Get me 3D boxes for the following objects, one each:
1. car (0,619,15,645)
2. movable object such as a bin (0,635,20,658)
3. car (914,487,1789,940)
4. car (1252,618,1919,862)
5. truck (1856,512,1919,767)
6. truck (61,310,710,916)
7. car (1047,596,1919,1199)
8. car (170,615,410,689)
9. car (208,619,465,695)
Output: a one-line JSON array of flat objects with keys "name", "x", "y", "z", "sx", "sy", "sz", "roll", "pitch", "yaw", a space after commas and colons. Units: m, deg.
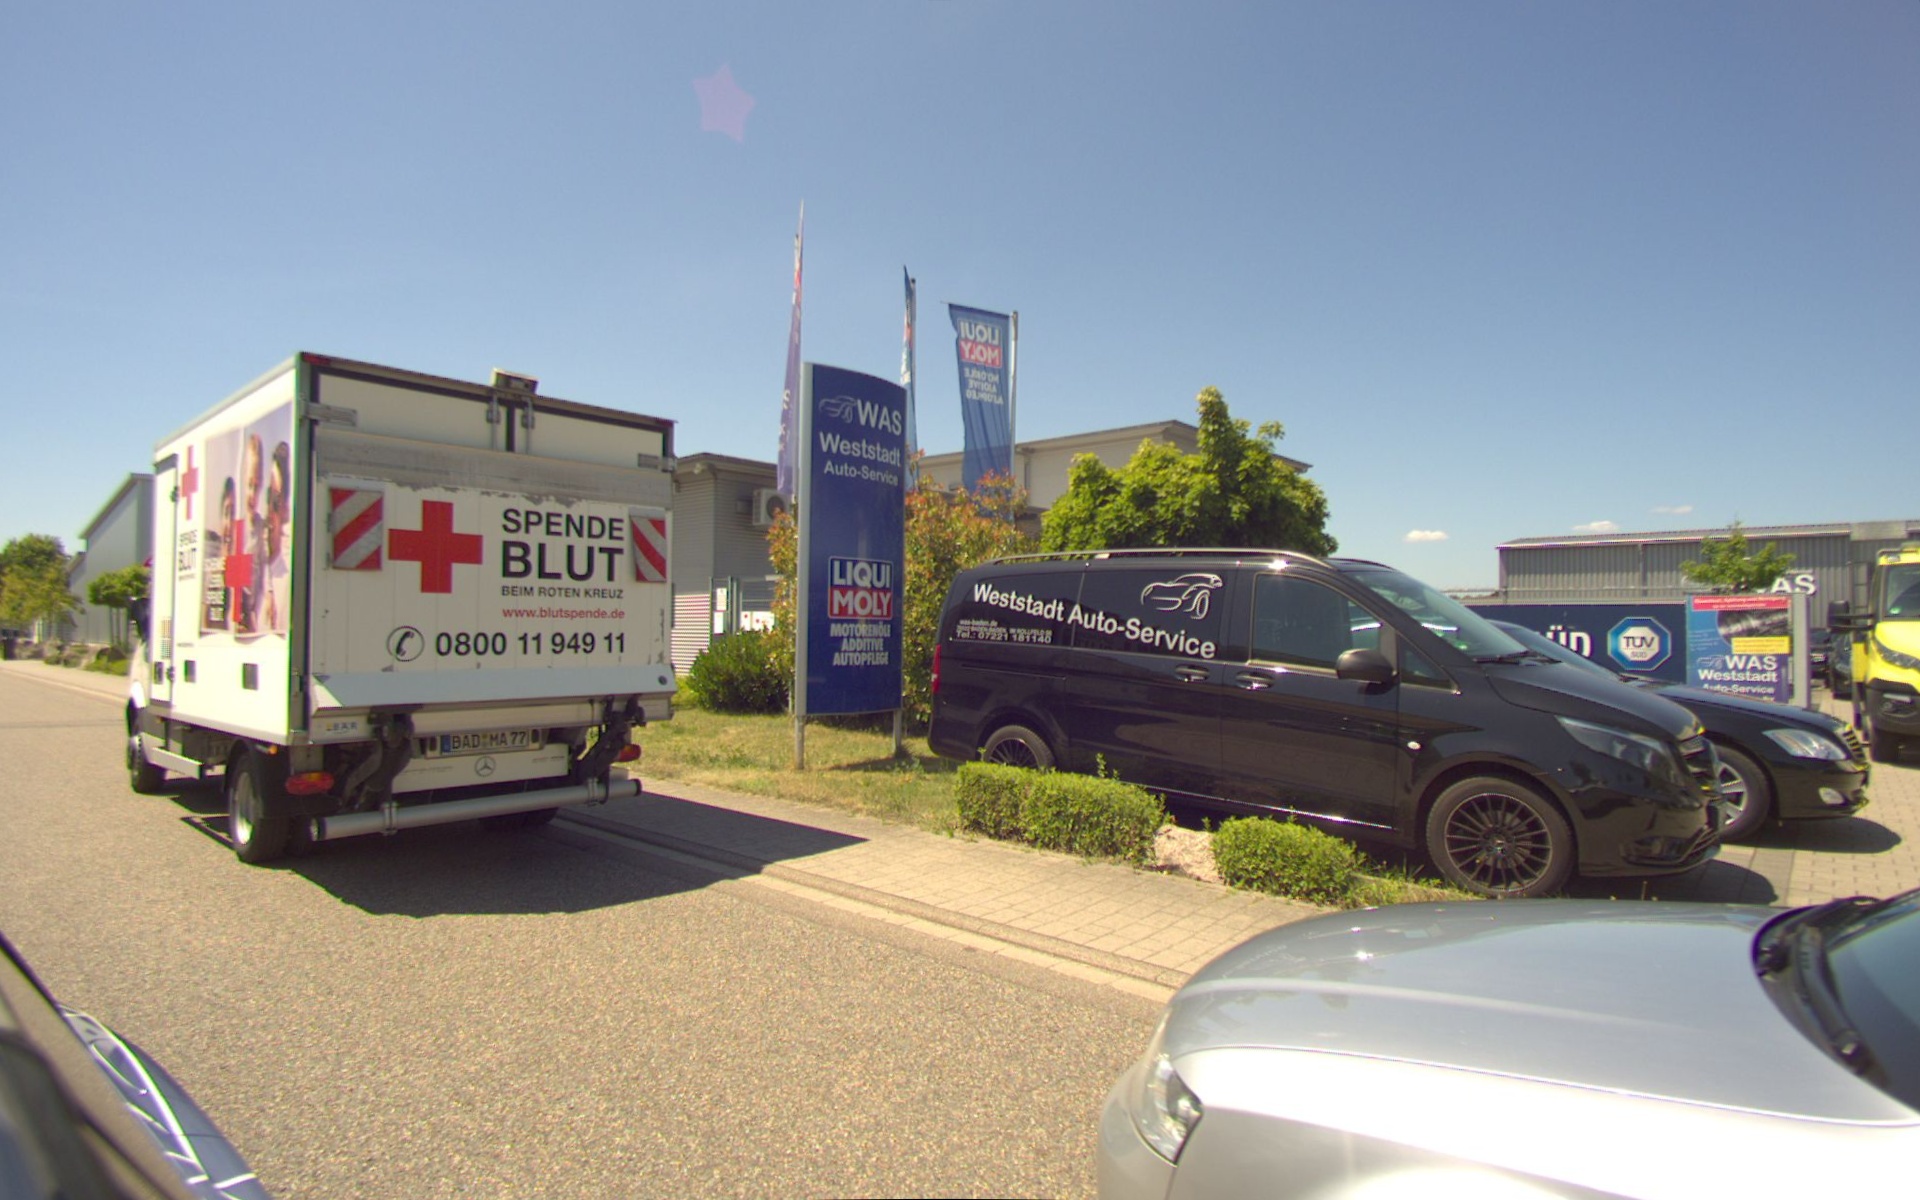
[{"name": "car", "x": -64.676, "y": 2.225, "z": 66.046, "sx": 1.781, "sy": 1.671, "sz": 4.120, "roll": -1, "pitch": 3, "yaw": 41}, {"name": "movable object such as a bin", "x": -39.479, "y": 1.929, "z": 42.002, "sx": 0.511, "sy": 0.957, "sz": 0.565, "roll": -2, "pitch": -2, "yaw": 36}, {"name": "car", "x": 2.237, "y": 0.541, "z": 6.897, "sx": 5.216, "sy": 1.971, "sz": 1.972, "roll": -1, "pitch": -2, "yaw": 41}, {"name": "car", "x": 4.964, "y": 0.871, "z": 7.976, "sx": 4.767, "sy": 1.427, "sz": 1.911, "roll": -1, "pitch": -1, "yaw": 41}, {"name": "truck", "x": 11.793, "y": 0.387, "z": 11.578, "sx": 2.164, "sy": 2.480, "sz": 5.893, "roll": -2, "pitch": -1, "yaw": 41}, {"name": "truck", "x": -4.830, "y": 0.152, "z": 7.835, "sx": 6.413, "sy": 2.882, "sz": 2.336, "roll": -1, "pitch": -4, "yaw": 42}, {"name": "car", "x": 2.361, "y": 0.752, "z": 0.790, "sx": 4.412, "sy": 1.433, "sz": 1.764, "roll": -1, "pitch": -4, "yaw": 42}, {"name": "car", "x": -15.158, "y": 1.131, "z": 23.075, "sx": 1.865, "sy": 1.529, "sz": 4.218, "roll": -1, "pitch": -2, "yaw": 40}, {"name": "car", "x": -13.005, "y": 1.142, "z": 21.311, "sx": 1.846, "sy": 1.442, "sz": 4.262, "roll": -1, "pitch": -2, "yaw": 42}]
